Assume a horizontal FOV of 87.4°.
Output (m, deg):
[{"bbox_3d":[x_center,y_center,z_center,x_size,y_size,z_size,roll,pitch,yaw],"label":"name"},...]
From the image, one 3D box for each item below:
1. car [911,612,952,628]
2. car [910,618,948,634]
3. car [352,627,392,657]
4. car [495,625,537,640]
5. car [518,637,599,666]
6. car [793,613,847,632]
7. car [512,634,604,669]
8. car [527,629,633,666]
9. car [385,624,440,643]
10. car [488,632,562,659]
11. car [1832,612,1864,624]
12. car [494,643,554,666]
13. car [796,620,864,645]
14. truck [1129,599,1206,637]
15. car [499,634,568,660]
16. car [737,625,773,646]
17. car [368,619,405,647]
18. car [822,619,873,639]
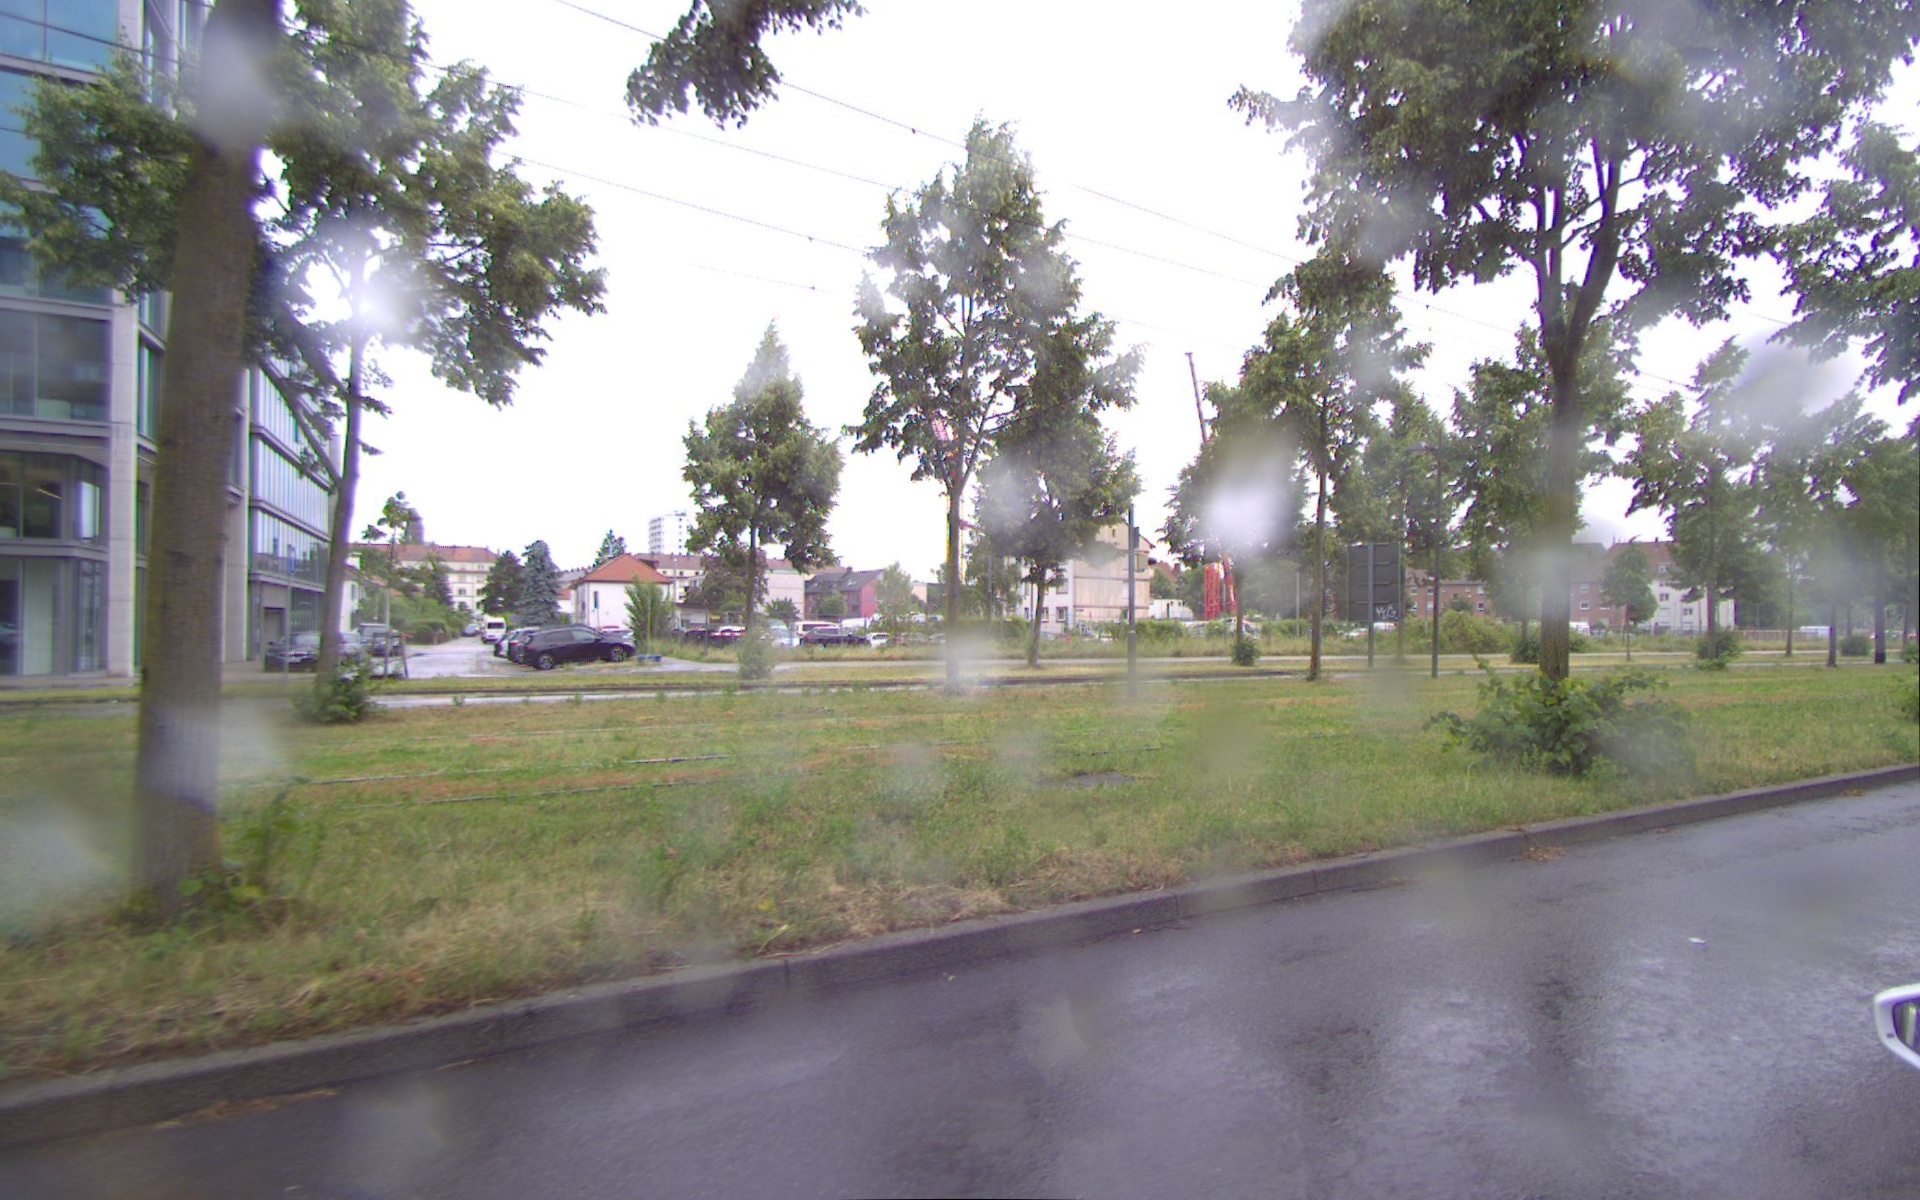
[{"bbox_3d":[-2.402,1.648,84.010,3.203,1.215,1.184,-1,0,-25],"label":"car"},{"bbox_3d":[-2.466,2.069,79.805,2.770,1.123,1.226,-1,0,-25],"label":"car"},{"bbox_3d":[-34.927,2.451,59.744,1.721,1.630,4.208,-1,0,-26],"label":"car"},{"bbox_3d":[-34.033,2.508,77.017,2.825,1.030,1.152,-1,0,-28],"label":"car"},{"bbox_3d":[-17.398,2.226,43.583,3.178,1.082,1.182,-1,0,-27],"label":"car"},{"bbox_3d":[-11.048,1.773,79.261,3.849,1.368,1.685,-1,0,-25],"label":"car"},{"bbox_3d":[-16.617,2.113,41.534,3.438,1.256,1.373,-1,0,-27],"label":"car"},{"bbox_3d":[-14.640,1.797,38.734,3.614,1.256,1.494,-1,0,-29],"label":"car"},{"bbox_3d":[-49.804,3.031,91.376,4.192,1.630,1.728,-1,0,-34],"label":"car"},{"bbox_3d":[-19.805,2.061,45.752,2.978,1.087,1.285,-1,0,-28],"label":"car"},{"bbox_3d":[136.571,2.801,154.547,3.486,1.762,1.700,-1,0,36],"label":"car"},{"bbox_3d":[-22.929,2.835,52.791,2.825,1.030,1.152,-1,0,-28],"label":"car"},{"bbox_3d":[-8.101,2.014,62.698,3.849,1.368,1.685,-1,0,-25],"label":"car"},{"bbox_3d":[31.783,2.655,153.079,6.107,5.468,13.252,-1,0,39],"label":"truck"},{"bbox_3d":[-20.695,2.249,48.740,2.978,1.087,1.285,-1,0,-28],"label":"car"},{"bbox_3d":[-14.938,2.572,73.111,1.672,1.368,3.878,-1,0,-25],"label":"car"},{"bbox_3d":[-37.116,2.105,65.081,1.721,1.630,4.208,-1,0,-26],"label":"car"},{"bbox_3d":[-8.564,2.190,76.382,3.573,1.368,1.316,-1,0,-25],"label":"car"}]
